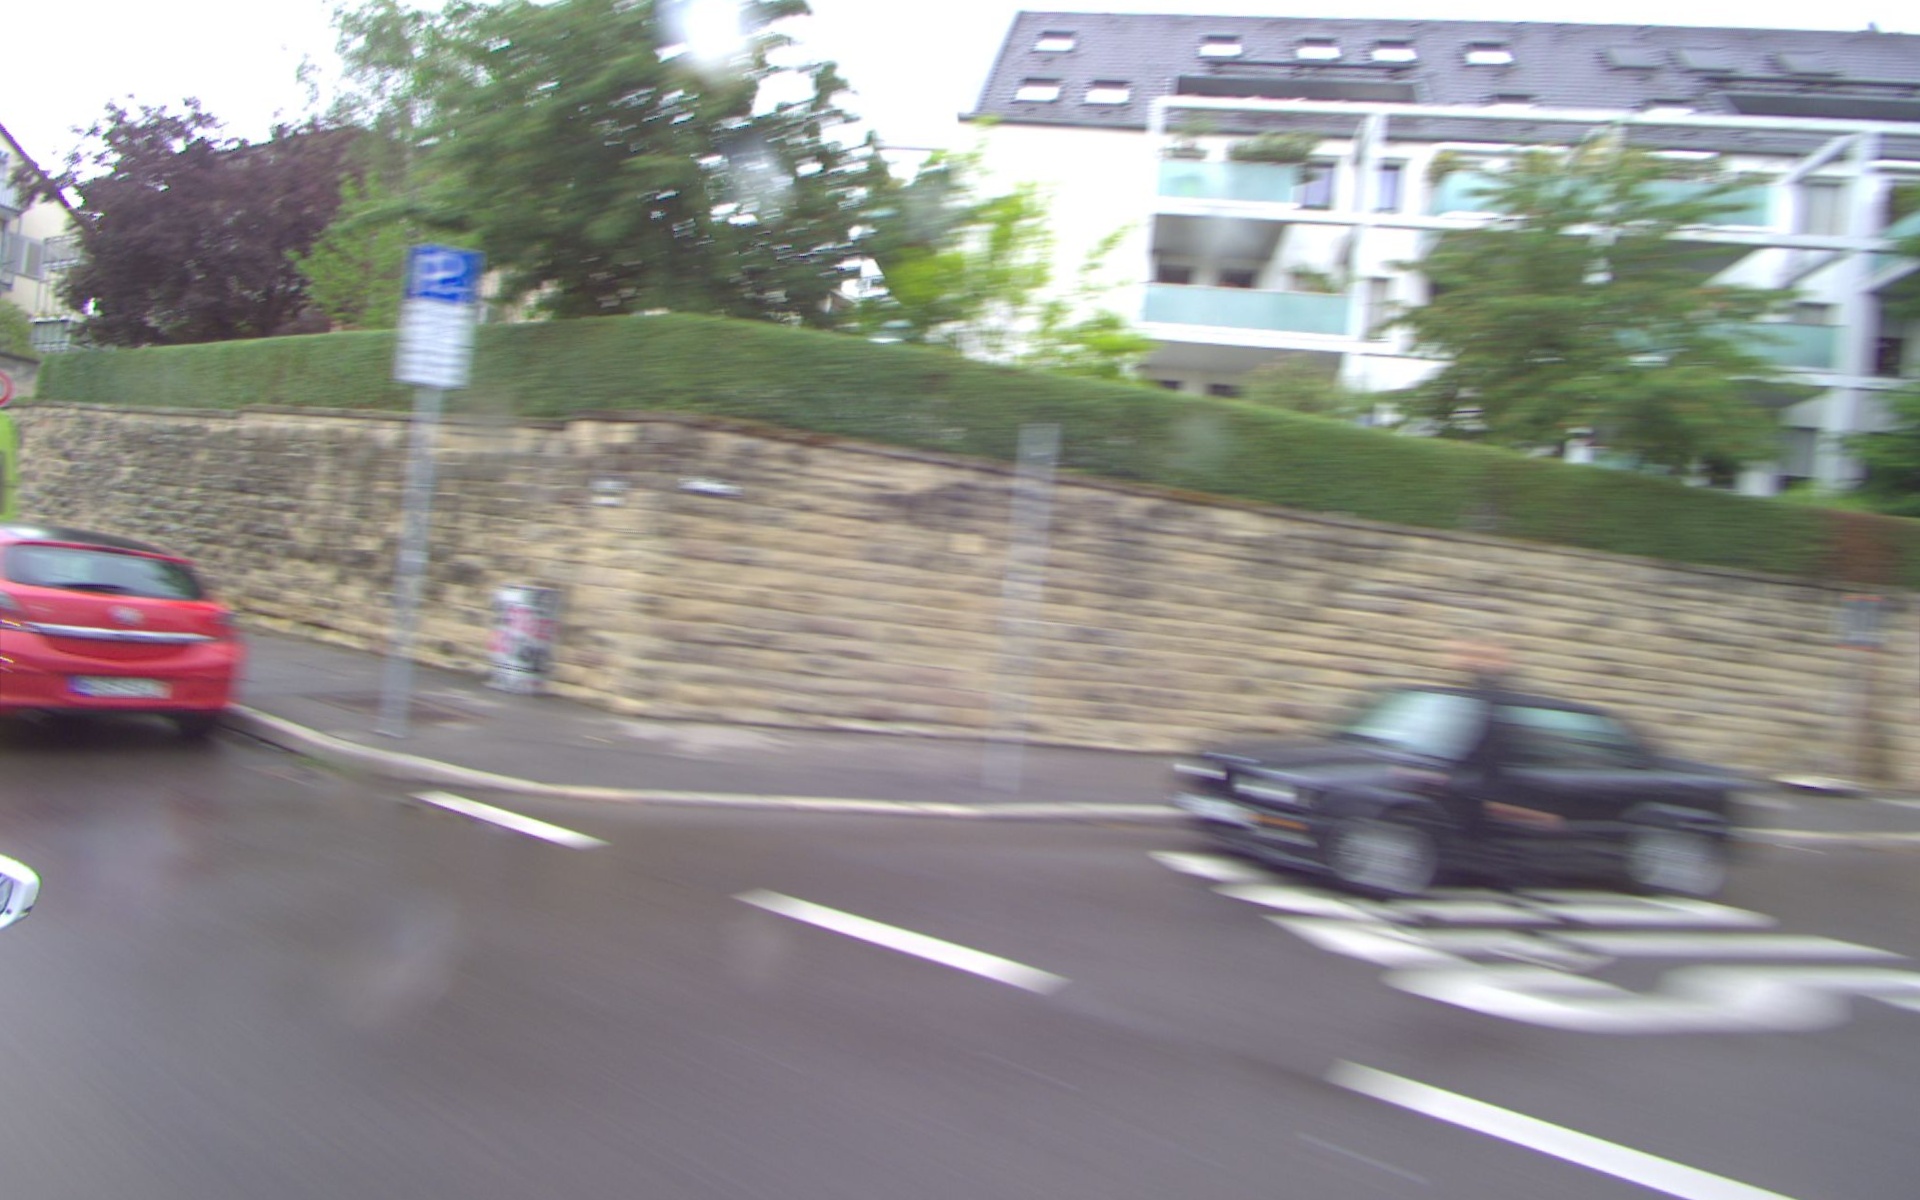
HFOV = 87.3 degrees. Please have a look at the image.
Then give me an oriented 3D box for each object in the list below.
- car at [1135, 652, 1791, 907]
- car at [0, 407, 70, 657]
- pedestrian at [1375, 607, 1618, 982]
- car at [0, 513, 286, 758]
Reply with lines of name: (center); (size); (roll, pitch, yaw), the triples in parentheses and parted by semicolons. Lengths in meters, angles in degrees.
car: (3.629, 1.293, 7.405); (4.212, 1.410, 1.746); (5, 0, -17)
car: (-12.579, -1.061, 11.149); (5.979, 2.491, 2.210); (7, -2, 32)
pedestrian: (2.809, 0.965, 5.387); (0.888, 1.737, 0.725); (7, 1, 23)
car: (-7.123, 0.098, 7.612); (4.134, 1.437, 1.725); (7, -3, 33)
